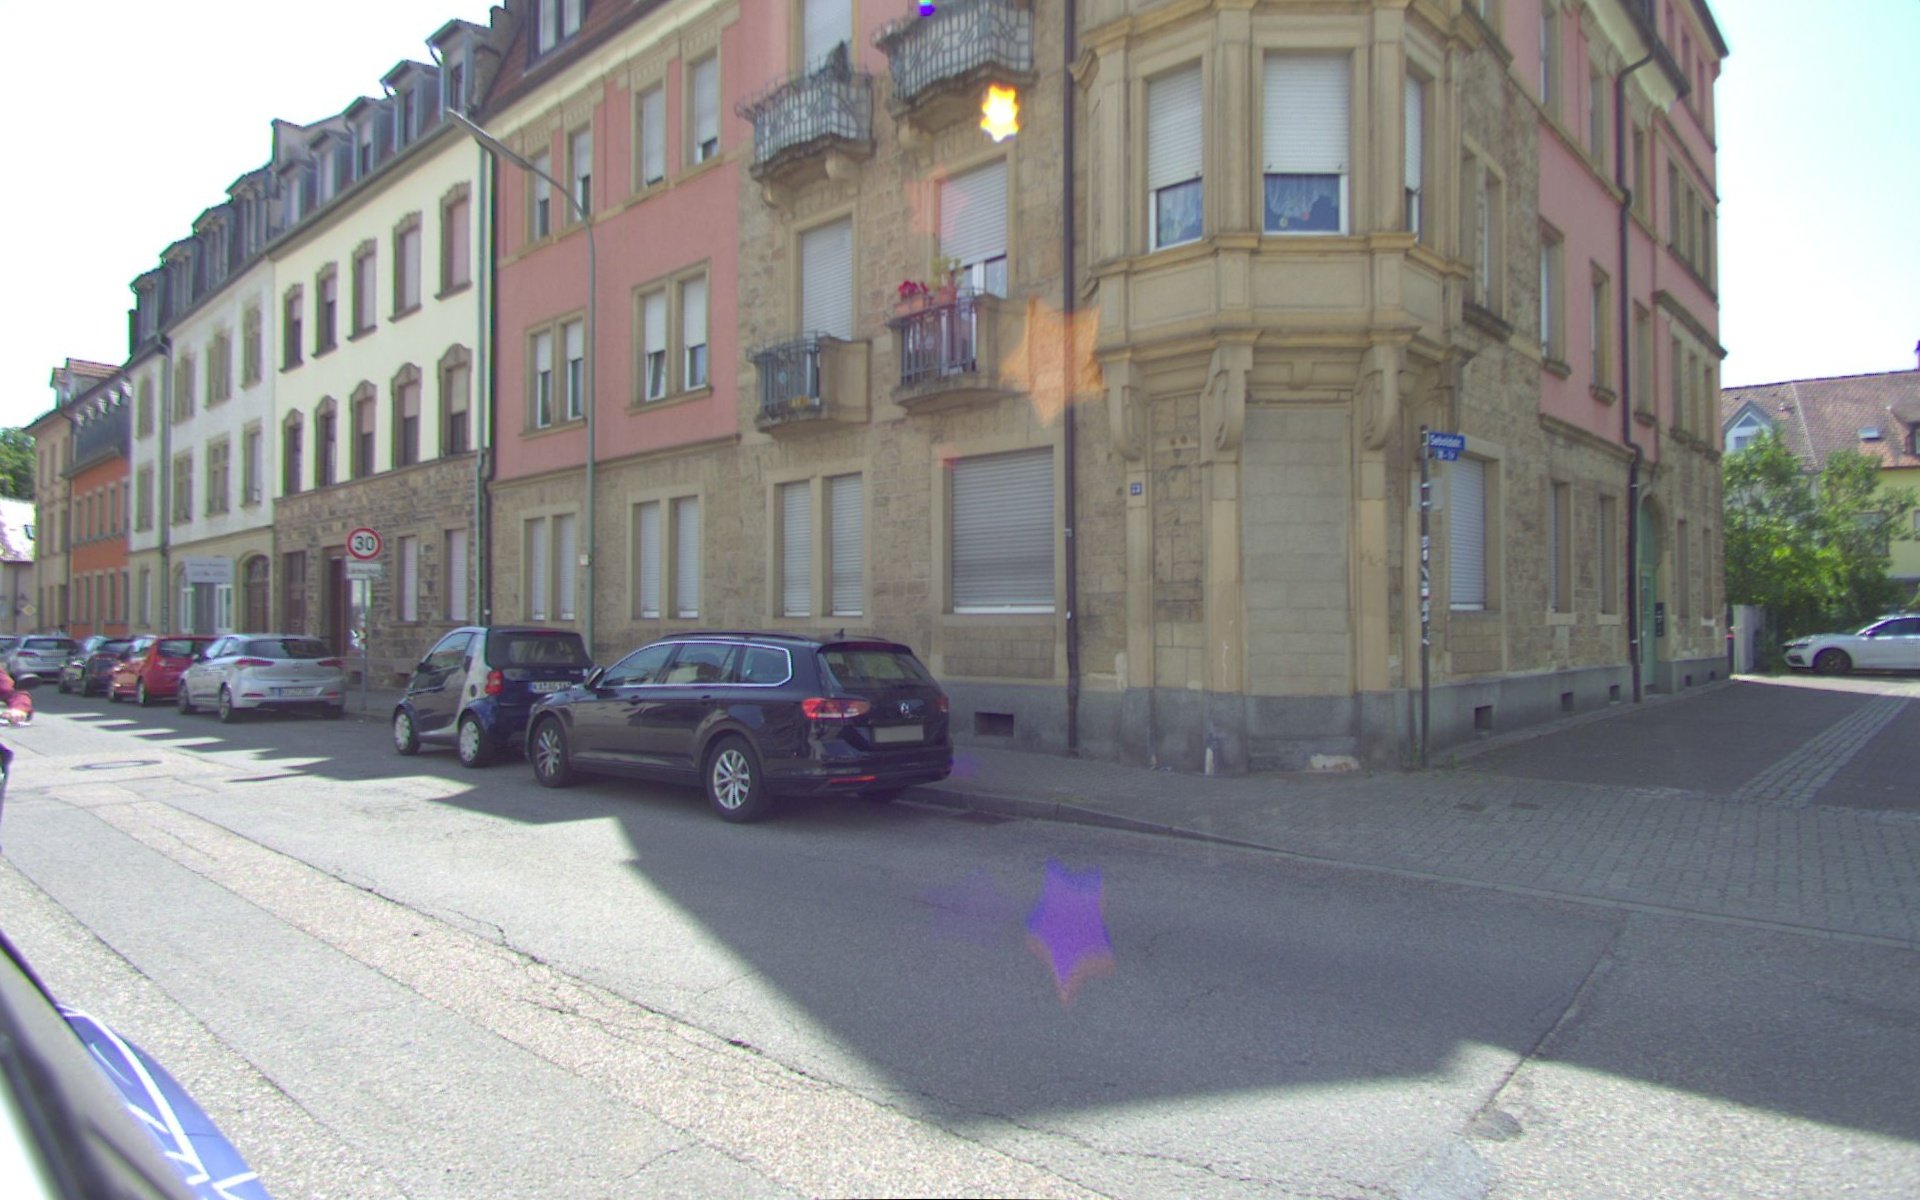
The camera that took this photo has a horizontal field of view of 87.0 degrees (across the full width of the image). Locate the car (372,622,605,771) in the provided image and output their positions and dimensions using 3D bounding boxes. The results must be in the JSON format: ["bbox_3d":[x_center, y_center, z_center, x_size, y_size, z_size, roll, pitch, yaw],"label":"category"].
[{"bbox_3d":[-5.539,1.036,11.831,2.692,1.534,1.422,-1,-3,39],"label":"car"}]

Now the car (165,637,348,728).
[{"bbox_3d":[-12.545,1.400,17.967,4.015,1.442,1.618,-2,-4,40],"label":"car"}]

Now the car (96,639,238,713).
[{"bbox_3d":[-16.995,1.570,21.645,3.490,1.453,1.583,-2,-3,38],"label":"car"}]

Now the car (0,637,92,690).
[{"bbox_3d":[-28.571,1.933,31.317,4.377,1.522,1.859,-2,-3,40],"label":"car"}]

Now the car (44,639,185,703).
[{"bbox_3d":[-21.051,1.708,25.157,4.213,1.449,1.854,-2,-3,38],"label":"car"}]

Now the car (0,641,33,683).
[{"bbox_3d":[-35.363,2.229,36.899,3.849,1.470,1.693,-2,-4,39],"label":"car"}]

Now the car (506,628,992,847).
[{"bbox_3d":[-2.067,0.989,8.993,4.631,1.469,1.764,-1,-3,41],"label":"car"}]

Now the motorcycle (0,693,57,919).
[{"bbox_3d":[-5.678,1.090,5.577,1.989,1.063,0.750,-2,-2,39],"label":"motorcycle"}]

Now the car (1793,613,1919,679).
[{"bbox_3d":[22.337,1.059,23.617,4.274,1.466,1.653,-2,0,33],"label":"car"}]

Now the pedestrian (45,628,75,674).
[{"bbox_3d":[-35.967,2.035,40.444,0.763,1.784,0.761,-2,-1,38],"label":"pedestrian"}]

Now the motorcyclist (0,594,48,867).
[{"bbox_3d":[-5.634,0.707,5.558,1.019,1.451,0.783,-2,-2,39],"label":"motorcyclist"}]
